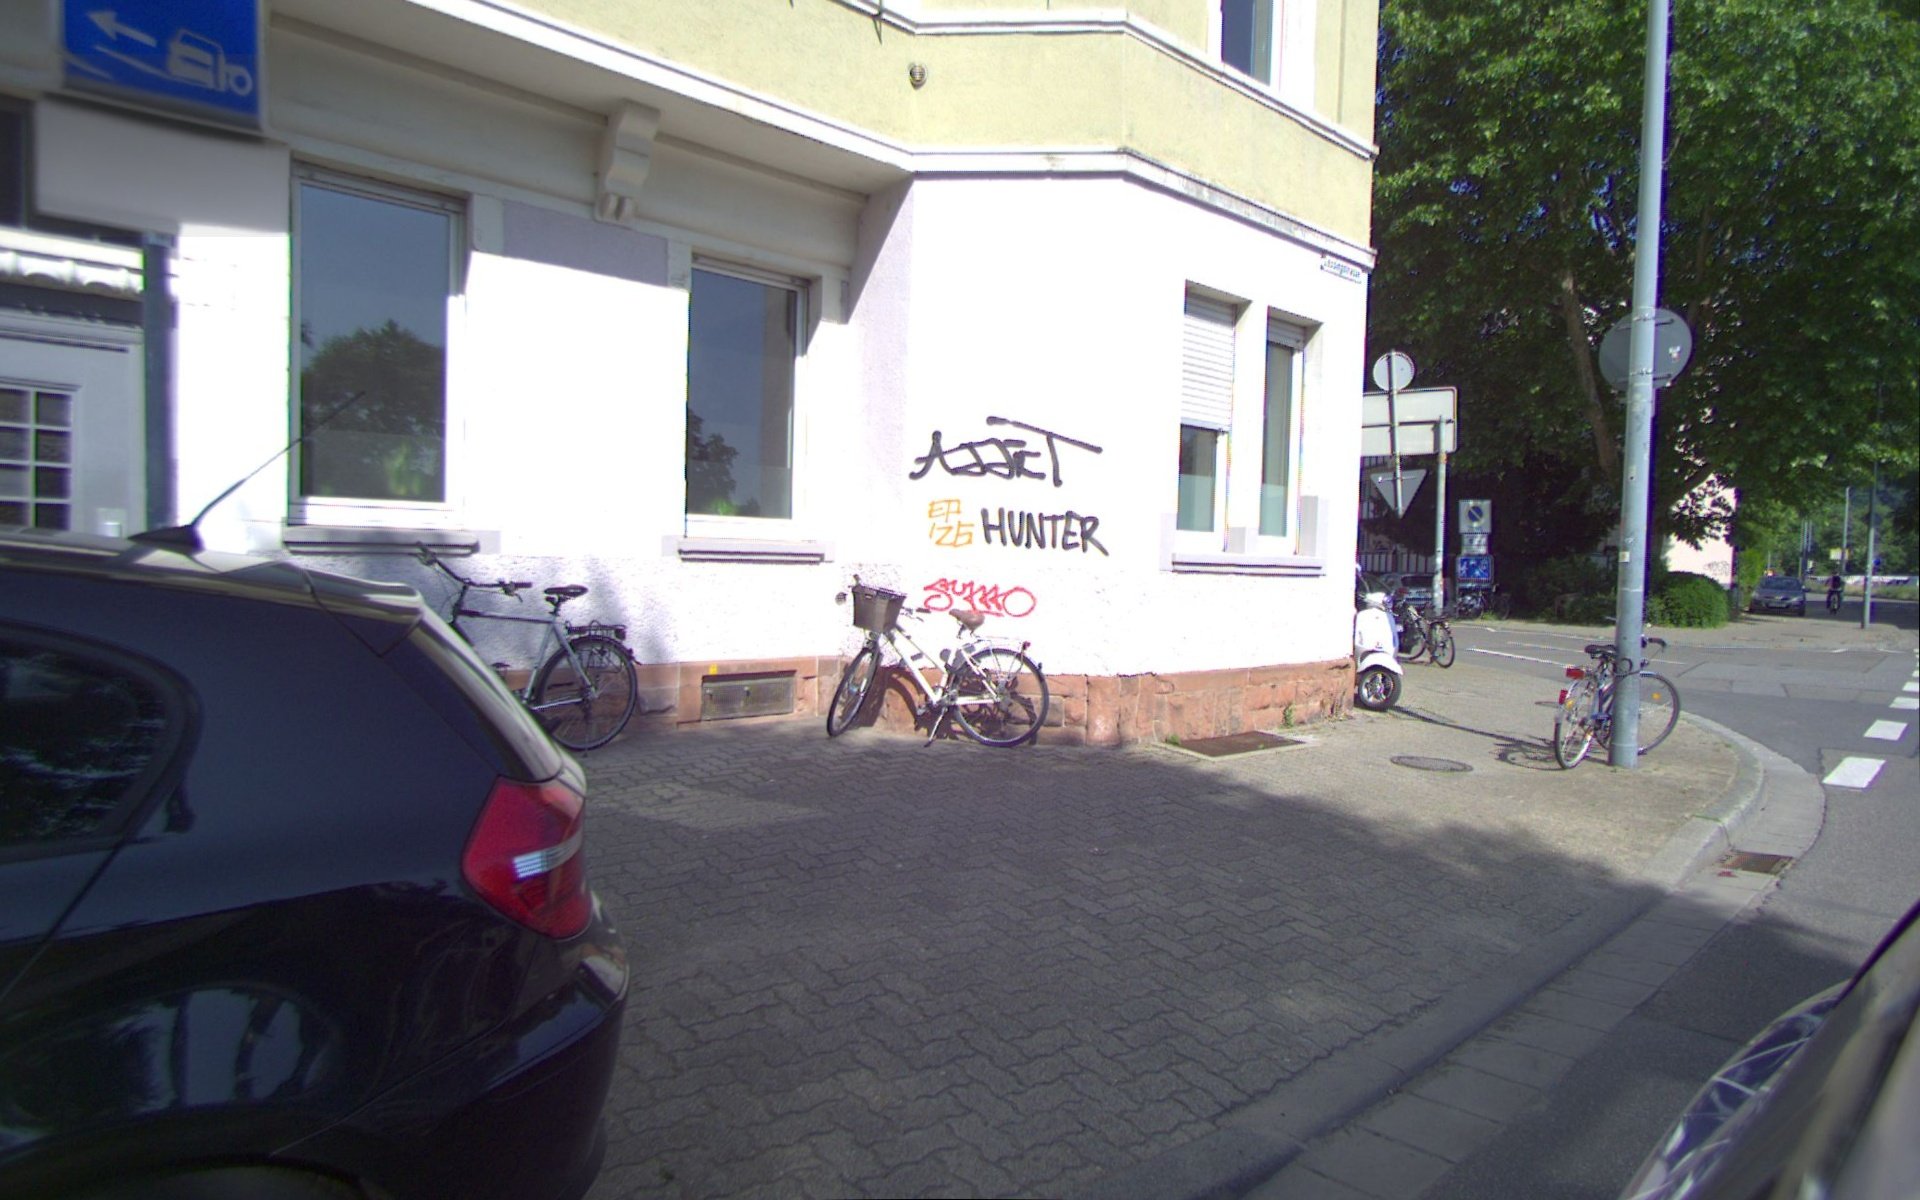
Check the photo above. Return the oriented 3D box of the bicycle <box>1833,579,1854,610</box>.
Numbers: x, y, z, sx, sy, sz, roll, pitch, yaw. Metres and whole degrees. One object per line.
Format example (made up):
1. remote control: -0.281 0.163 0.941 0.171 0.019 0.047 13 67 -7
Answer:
1. bicycle: 36.155 -0.235 41.409 0.552 1.203 1.267 4 3 42

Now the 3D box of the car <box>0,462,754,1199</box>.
1. car: -2.451 0.536 1.107 4.006 1.433 1.745 -1 3 -38

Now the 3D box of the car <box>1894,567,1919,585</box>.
1. car: 105.808 -2.621 112.500 1.985 1.889 3.956 4 4 31

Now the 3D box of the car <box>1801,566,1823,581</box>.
1. car: 109.962 -3.408 130.625 1.623 1.833 3.550 3 3 33

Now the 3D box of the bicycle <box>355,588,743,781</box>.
1. bicycle: -2.407 0.429 6.128 2.077 0.957 0.609 0 4 -41

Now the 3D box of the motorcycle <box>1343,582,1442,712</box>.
1. motorcycle: 4.507 0.439 10.645 0.466 1.164 1.761 3 3 9

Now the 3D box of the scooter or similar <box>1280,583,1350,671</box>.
1. scooter or similar: 5.023 0.352 14.395 0.269 1.141 1.450 2 2 -8

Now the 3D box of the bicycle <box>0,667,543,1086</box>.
1. bicycle: -2.098 0.716 2.967 1.554 0.902 0.448 -1 4 -42

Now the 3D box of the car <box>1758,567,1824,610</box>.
1. car: 32.027 -0.468 39.090 1.784 1.531 3.841 2 3 38

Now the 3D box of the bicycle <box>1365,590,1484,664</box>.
1. bicycle: 7.296 0.394 16.009 0.613 1.047 1.887 1 2 -15

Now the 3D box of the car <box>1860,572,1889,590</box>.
1. car: 96.465 -2.025 106.759 1.623 1.833 3.551 3 3 33

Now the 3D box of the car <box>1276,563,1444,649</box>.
1. car: 7.647 0.036 19.742 1.793 1.464 3.768 1 2 1

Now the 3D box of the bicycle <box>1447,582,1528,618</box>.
1. bicycle: 15.687 -0.010 30.155 1.861 0.996 0.974 1 2 -2

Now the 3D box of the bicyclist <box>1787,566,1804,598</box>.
1. bicyclist: 52.211 -1.135 63.258 0.643 1.917 0.829 3 2 32

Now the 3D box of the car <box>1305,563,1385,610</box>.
1. car: 14.681 -0.566 38.763 1.722 1.677 3.778 1 2 3

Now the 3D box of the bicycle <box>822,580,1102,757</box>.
1. bicycle: 0.015 0.440 6.881 1.795 1.059 0.538 3 2 4

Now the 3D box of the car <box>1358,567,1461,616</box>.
1. car: 14.594 -0.333 33.086 1.778 1.469 3.793 1 2 3

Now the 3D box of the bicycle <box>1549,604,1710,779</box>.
1. bicycle: 4.933 0.604 7.417 1.705 1.101 0.577 -1 2 -43

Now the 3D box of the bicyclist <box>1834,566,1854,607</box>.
1. bicyclist: 36.162 -0.553 41.394 0.539 1.653 0.580 4 3 42
